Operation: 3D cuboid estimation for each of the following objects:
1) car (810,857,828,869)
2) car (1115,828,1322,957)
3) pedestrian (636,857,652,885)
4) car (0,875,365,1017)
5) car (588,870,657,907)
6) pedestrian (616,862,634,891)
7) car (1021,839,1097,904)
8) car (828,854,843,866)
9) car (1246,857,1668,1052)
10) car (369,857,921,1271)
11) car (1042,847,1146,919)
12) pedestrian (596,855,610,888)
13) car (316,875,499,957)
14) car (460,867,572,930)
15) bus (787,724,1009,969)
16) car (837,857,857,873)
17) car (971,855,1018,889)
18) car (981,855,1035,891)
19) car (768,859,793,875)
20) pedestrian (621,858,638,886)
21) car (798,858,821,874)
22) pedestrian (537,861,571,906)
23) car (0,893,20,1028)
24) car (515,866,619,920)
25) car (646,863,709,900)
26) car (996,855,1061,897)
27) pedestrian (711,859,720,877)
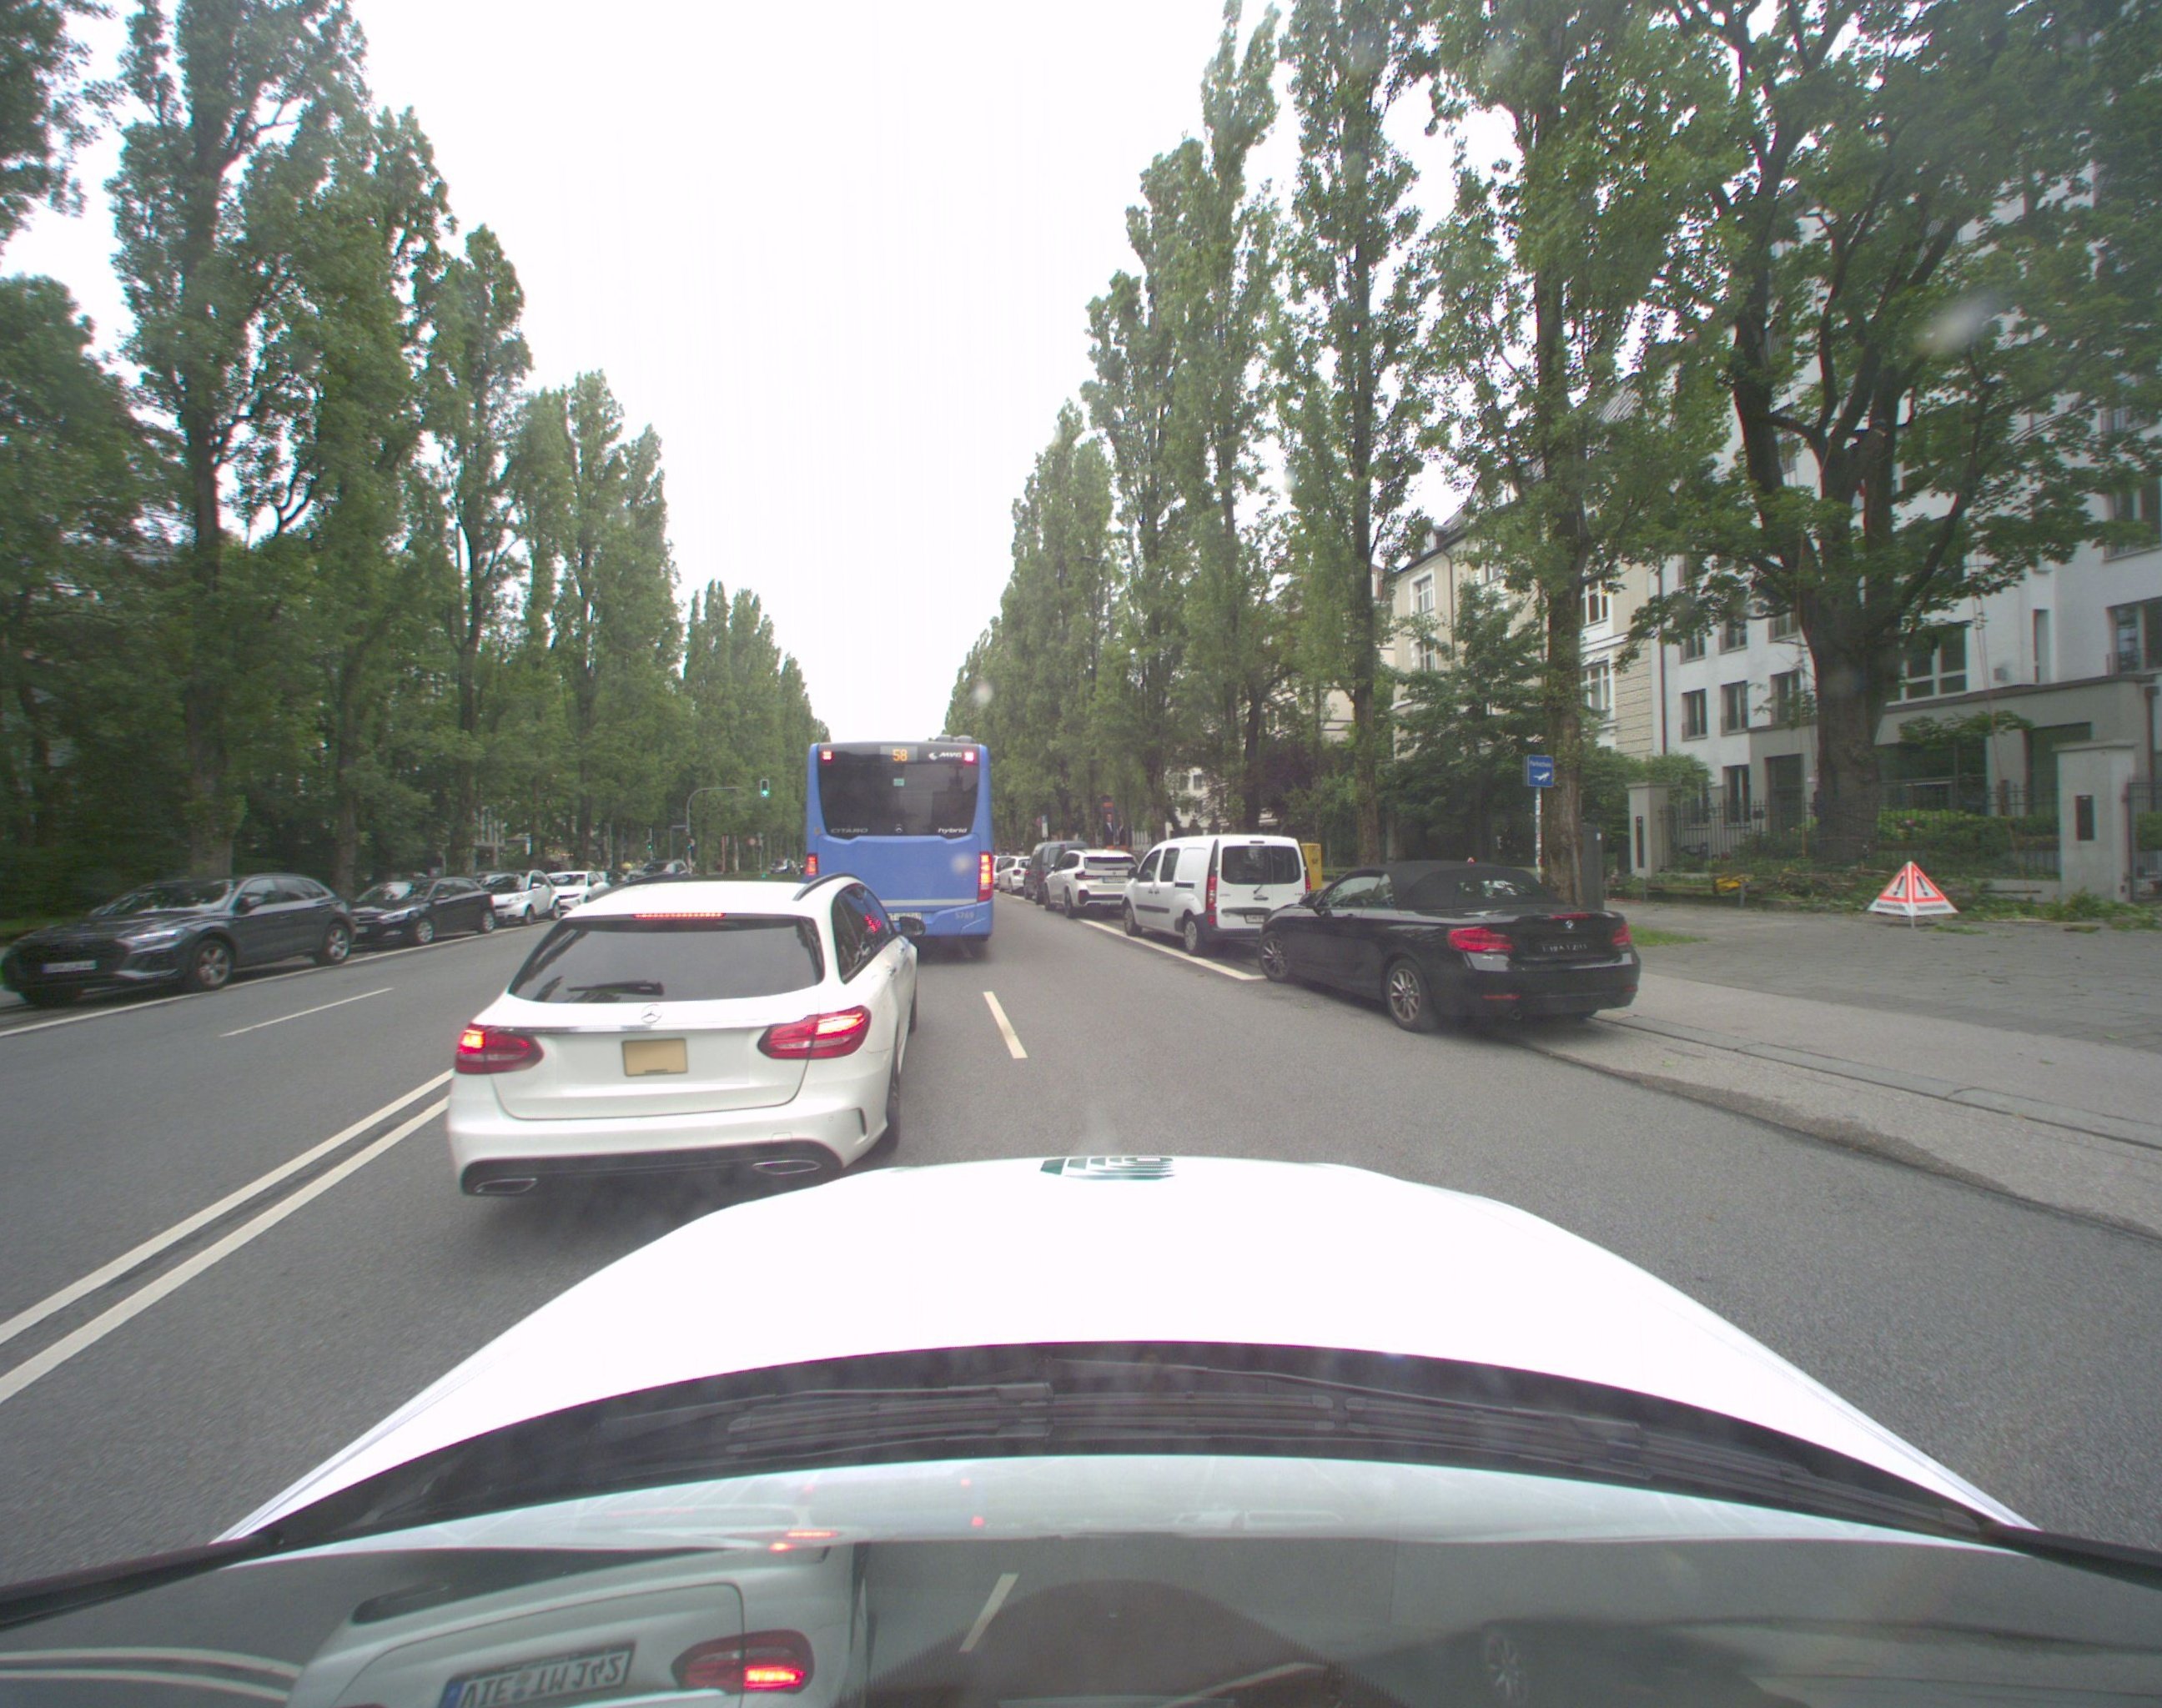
[{"bbox_3d":[-36.274,1.207,112.729,1.996,1.592,4.423,-2,0,-13],"label":"car"},{"bbox_3d":[2.051,0.539,13.479,1.836,1.773,4.209,1,0,-14],"label":"car"},{"bbox_3d":[-32.116,1.267,59.846,0.832,2.013,0.773,-2,0,-16],"label":"pedestrian"},{"bbox_3d":[-13.416,1.220,12.469,1.794,1.547,4.317,-5,1,-14],"label":"car"},{"bbox_3d":[-18.229,1.317,32.529,1.290,1.273,3.832,-2,0,-13],"label":"car"},{"bbox_3d":[-27.736,1.357,49.513,0.704,1.736,0.805,-2,0,-15],"label":"pedestrian"},{"bbox_3d":[-0.765,0.497,25.428,1.704,1.836,3.984,0,0,-12],"label":"car"},{"bbox_3d":[-42.169,0.983,140.008,1.996,2.013,4.443,-2,0,-13],"label":"car"},{"bbox_3d":[3.262,0.736,8.042,1.748,1.354,3.983,-1,0,-12],"label":"car"},{"bbox_3d":[-2.029,0.755,5.324,1.826,1.454,4.566,-1,0,-10],"label":"car"},{"bbox_3d":[0.203,0.650,20.319,1.679,1.596,4.068,0,0,-13],"label":"car"},{"bbox_3d":[-29.688,1.096,50.599,0.502,2.013,0.598,-2,0,-14],"label":"pedestrian"},{"bbox_3d":[-14.889,1.282,18.280,1.542,1.433,3.850,-5,1,-14],"label":"car"},{"bbox_3d":[-16.035,1.206,23.297,1.411,1.552,3.429,-2,0,-13],"label":"car"},{"bbox_3d":[-3.004,-0.135,15.341,2.854,3.213,9.035,-1,0,-8],"label":"bus"},{"bbox_3d":[-25.669,1.168,89.460,1.996,1.619,3.981,-2,0,-14],"label":"car"},{"bbox_3d":[-4.488,0.867,41.637,1.812,1.618,3.980,-2,0,-15],"label":"car"},{"bbox_3d":[-3.360,0.795,36.623,1.788,1.492,3.980,-2,0,-14],"label":"car"},{"bbox_3d":[-28.672,1.221,77.800,1.824,1.486,3.981,-2,0,-14],"label":"car"},{"bbox_3d":[-32.929,1.283,59.392,0.832,2.013,0.773,-2,0,-16],"label":"pedestrian"},{"bbox_3d":[-27.001,1.155,81.062,1.824,1.486,3.981,-2,0,-14],"label":"car"},{"bbox_3d":[-21.013,1.159,32.486,0.823,1.764,1.075,-2,0,-16],"label":"pedestrian"},{"bbox_3d":[-12.438,1.238,7.142,1.748,1.518,4.092,-3,1,-19],"label":"car"},{"bbox_3d":[-16.917,1.232,27.043,1.711,1.548,3.980,-2,0,-14],"label":"car"},{"bbox_3d":[-18.777,1.237,38.069,1.709,1.552,3.983,-2,0,-13],"label":"car"},{"bbox_3d":[-2.100,0.793,31.661,1.801,1.475,3.980,-2,0,-14],"label":"car"},{"bbox_3d":[-41.494,1.615,92.435,0.832,2.013,0.773,-2,0,-17],"label":"pedestrian"}]
